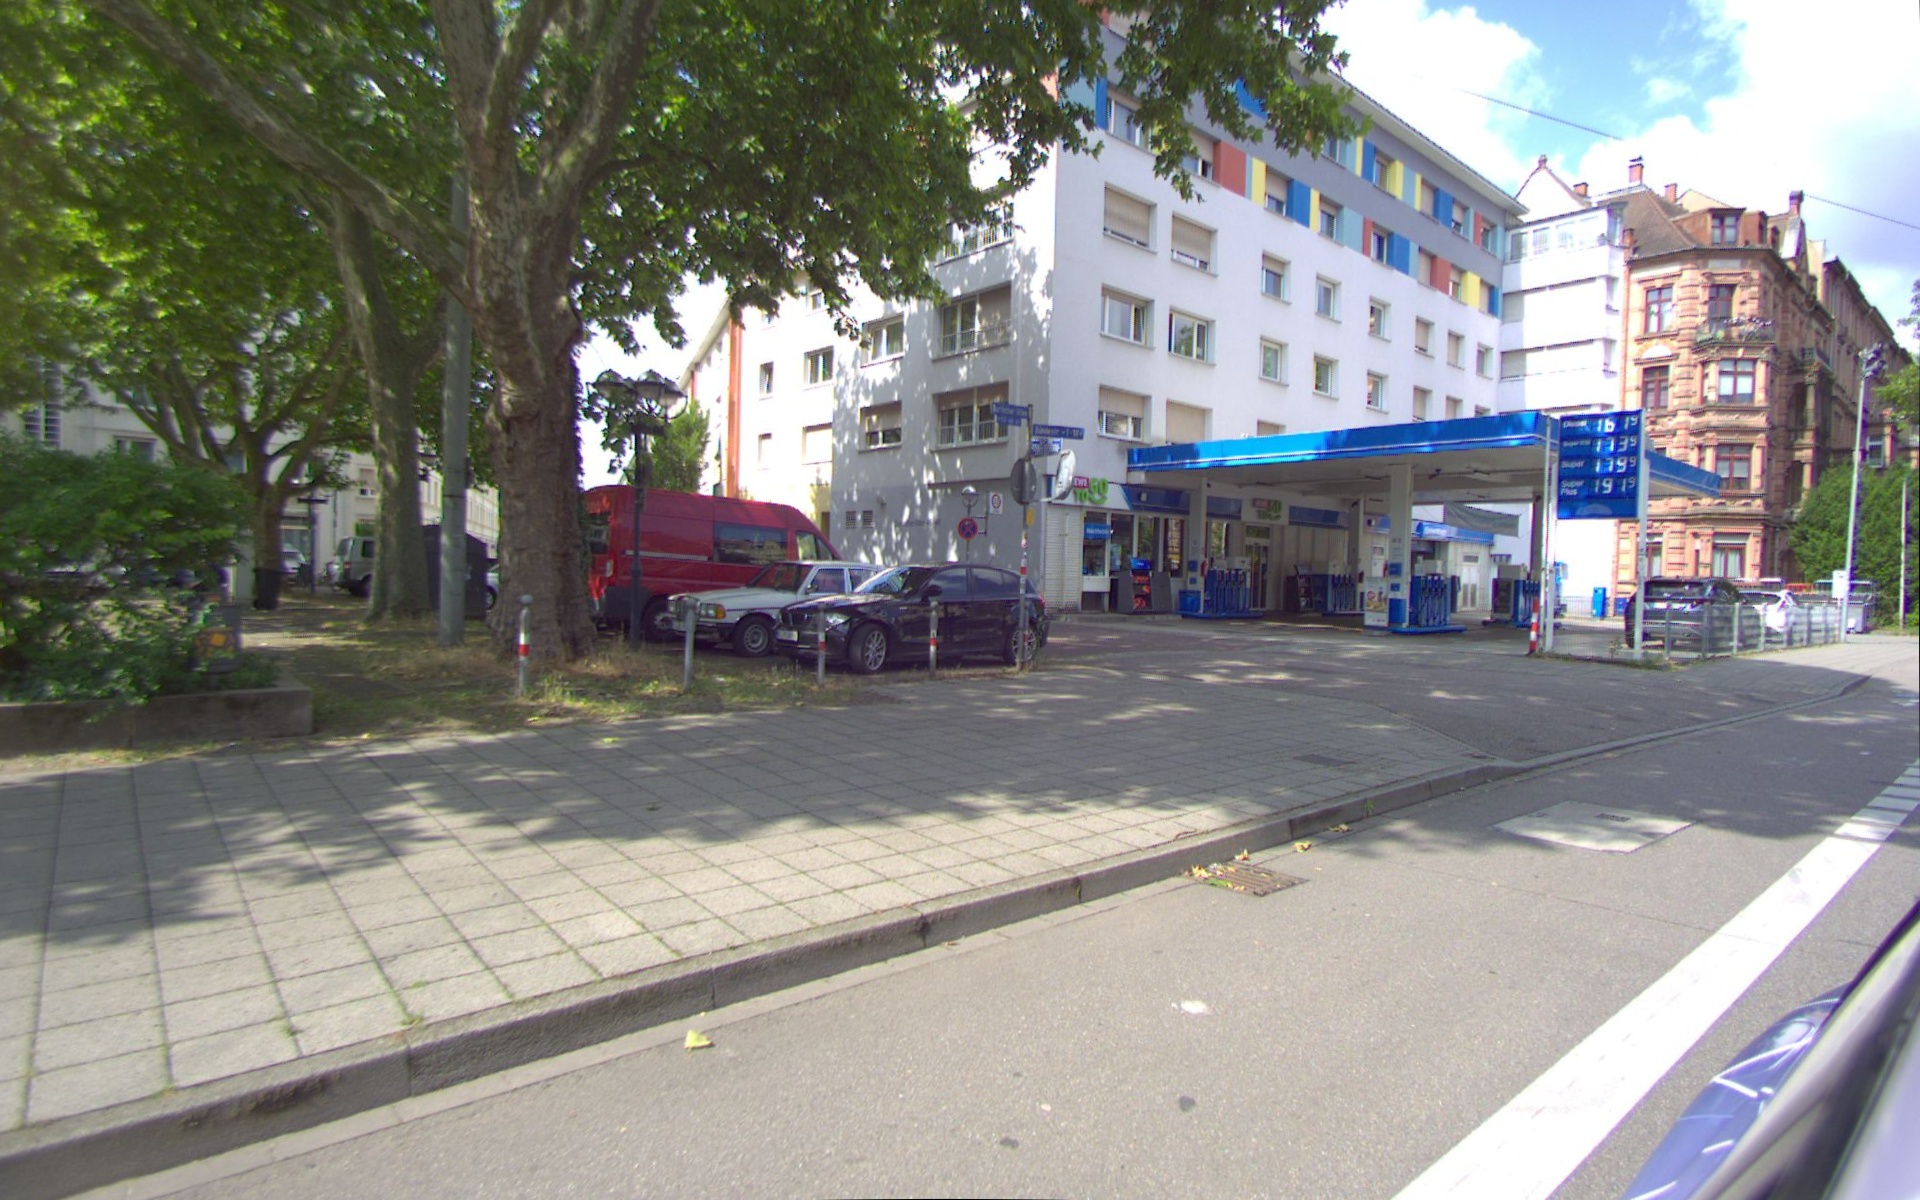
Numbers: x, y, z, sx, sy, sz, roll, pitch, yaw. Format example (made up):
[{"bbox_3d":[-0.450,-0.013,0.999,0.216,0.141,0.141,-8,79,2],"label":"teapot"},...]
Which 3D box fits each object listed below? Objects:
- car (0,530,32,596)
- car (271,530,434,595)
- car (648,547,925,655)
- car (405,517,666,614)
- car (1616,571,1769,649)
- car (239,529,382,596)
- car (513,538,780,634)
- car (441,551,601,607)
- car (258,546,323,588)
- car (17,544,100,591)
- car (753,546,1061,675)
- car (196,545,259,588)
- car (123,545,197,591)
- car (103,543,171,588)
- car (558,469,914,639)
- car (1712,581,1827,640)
[{"bbox_3d":[-26.204,-1.026,26.959,1.965,1.656,4.161,0,2,-40],"label":"car"},{"bbox_3d":[-18.576,-1.100,31.032,3.980,1.843,1.824,0,1,-43],"label":"car"},{"bbox_3d":[-2.566,-0.021,15.592,3.976,1.447,1.650,0,2,-45],"label":"car"},{"bbox_3d":[-8.639,-0.639,20.780,4.568,1.776,2.011,0,1,-39],"label":"car"},{"bbox_3d":[16.943,0.196,23.343,4.501,1.622,1.810,0,1,-40],"label":"car"},{"bbox_3d":[-20.707,-1.159,32.324,3.581,2.012,1.825,0,2,-43],"label":"car"},{"bbox_3d":[-6.045,-0.258,19.798,4.568,1.671,2.011,0,1,-39],"label":"car"},{"bbox_3d":[-11.615,-0.530,26.890,3.581,1.380,1.582,0,1,-43],"label":"car"},{"bbox_3d":[-31.292,-1.563,47.256,2.151,1.827,4.757,0,2,-38],"label":"car"},{"bbox_3d":[-29.974,-1.101,33.754,1.924,1.439,4.174,0,2,-40],"label":"car"},{"bbox_3d":[-0.612,0.092,13.626,3.973,1.488,1.651,0,2,-42],"label":"car"},{"bbox_3d":[-33.175,-1.533,45.778,2.151,1.827,4.694,0,2,-38],"label":"car"},{"bbox_3d":[-28.775,-1.167,36.344,1.965,1.543,4.161,0,2,-40],"label":"car"},{"bbox_3d":[-35.802,-1.539,44.120,2.151,1.827,4.757,0,2,-38],"label":"car"},{"bbox_3d":[-3.857,-0.740,18.243,5.911,2.614,2.117,0,2,-39],"label":"car"},{"bbox_3d":[22.342,0.256,27.893,3.932,1.473,1.809,0,1,-42],"label":"car"}]
